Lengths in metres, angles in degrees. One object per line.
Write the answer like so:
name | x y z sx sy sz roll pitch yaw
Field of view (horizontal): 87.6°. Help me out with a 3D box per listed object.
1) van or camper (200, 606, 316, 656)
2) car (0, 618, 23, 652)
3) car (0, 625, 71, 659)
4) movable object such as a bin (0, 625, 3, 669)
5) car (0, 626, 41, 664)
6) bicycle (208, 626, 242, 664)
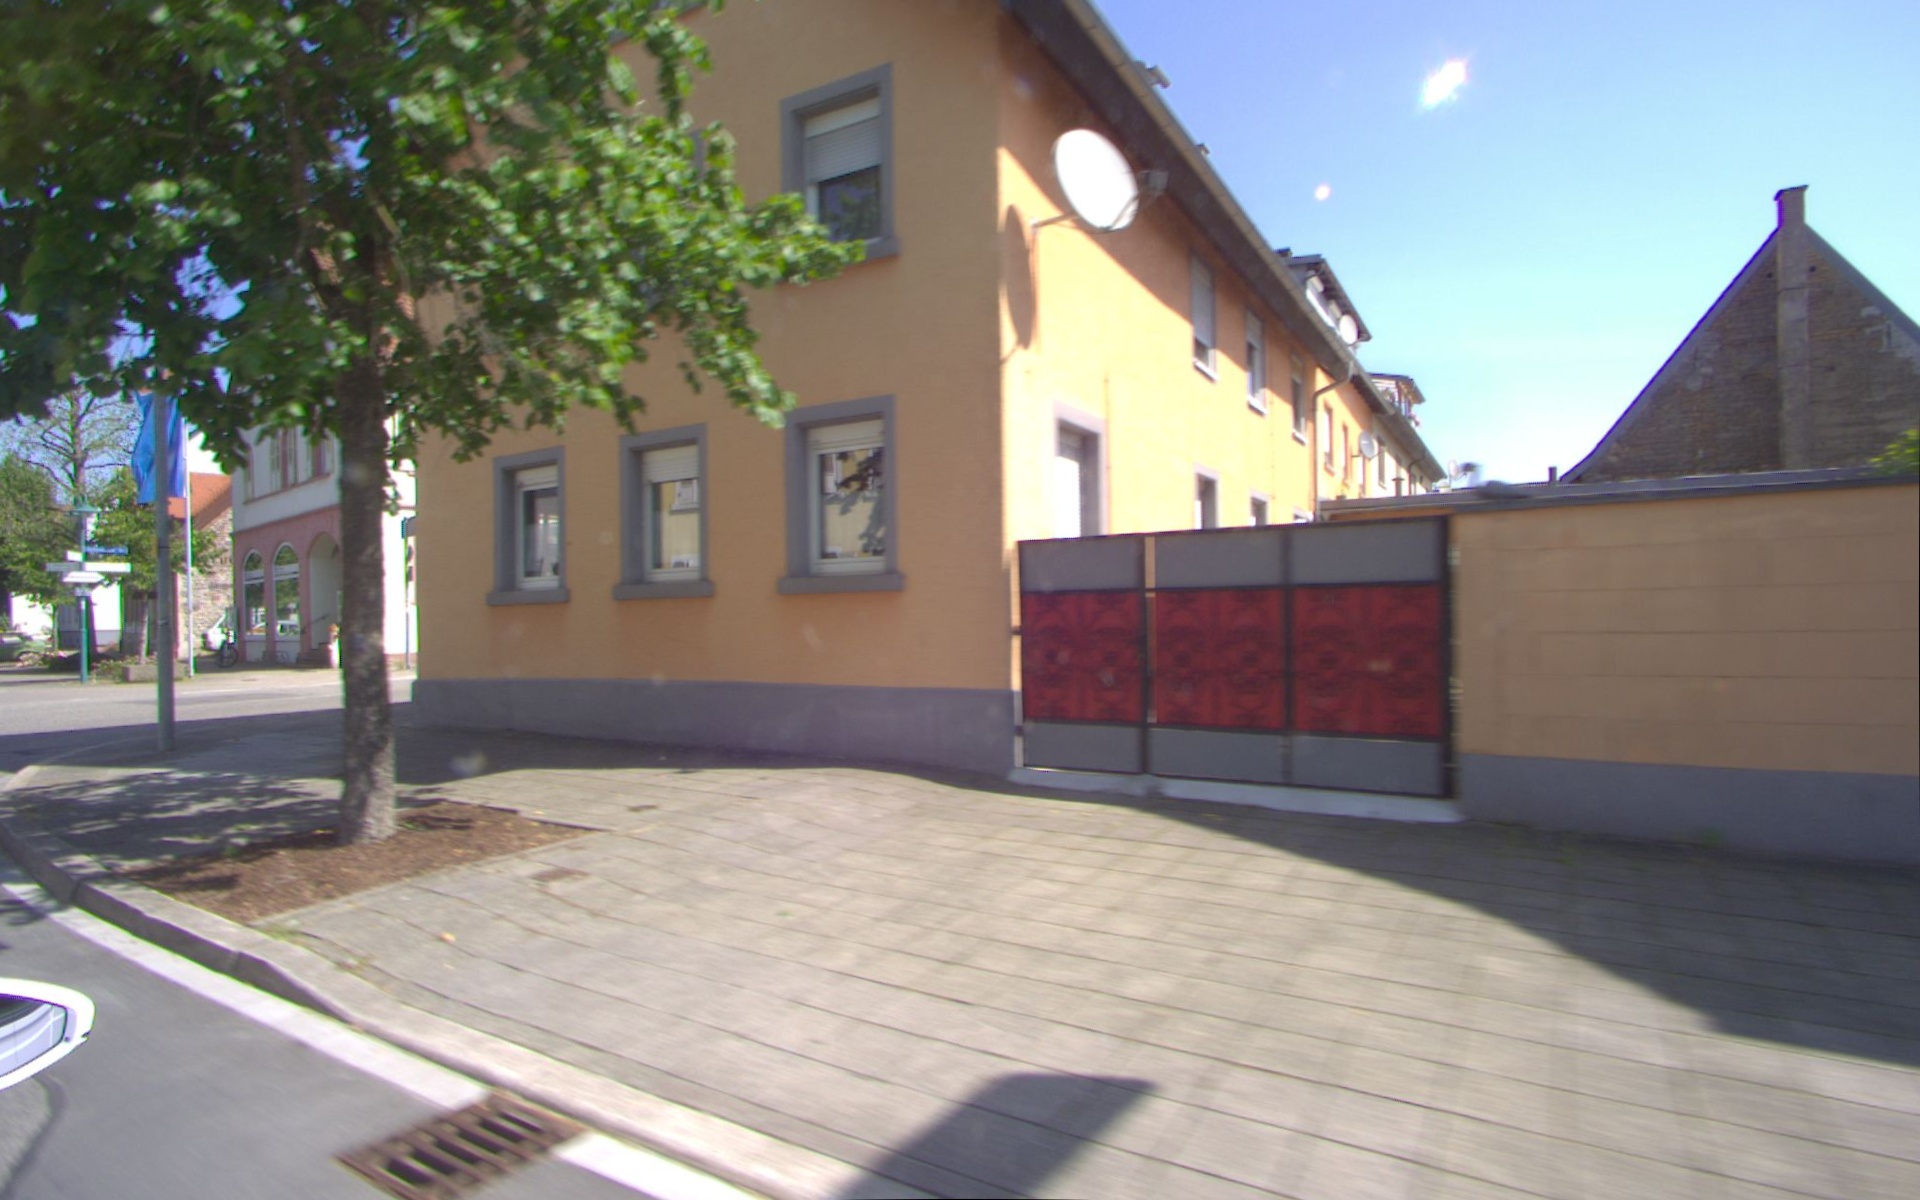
van or camper | -30.325 1.295 43.294 3.955 2.040 1.983 0 0 -40
car | -46.186 1.609 46.198 1.977 1.588 4.131 -1 -1 41
car | -38.937 1.710 40.751 1.977 1.362 3.905 -1 -1 41
movable object such as a bin | -30.500 1.459 31.048 0.781 1.356 1.180 -1 0 45
car | -44.171 2.006 44.470 1.977 1.644 4.781 -1 -1 41
bicycle | -23.085 1.399 31.426 1.730 1.151 0.589 -1 0 45
